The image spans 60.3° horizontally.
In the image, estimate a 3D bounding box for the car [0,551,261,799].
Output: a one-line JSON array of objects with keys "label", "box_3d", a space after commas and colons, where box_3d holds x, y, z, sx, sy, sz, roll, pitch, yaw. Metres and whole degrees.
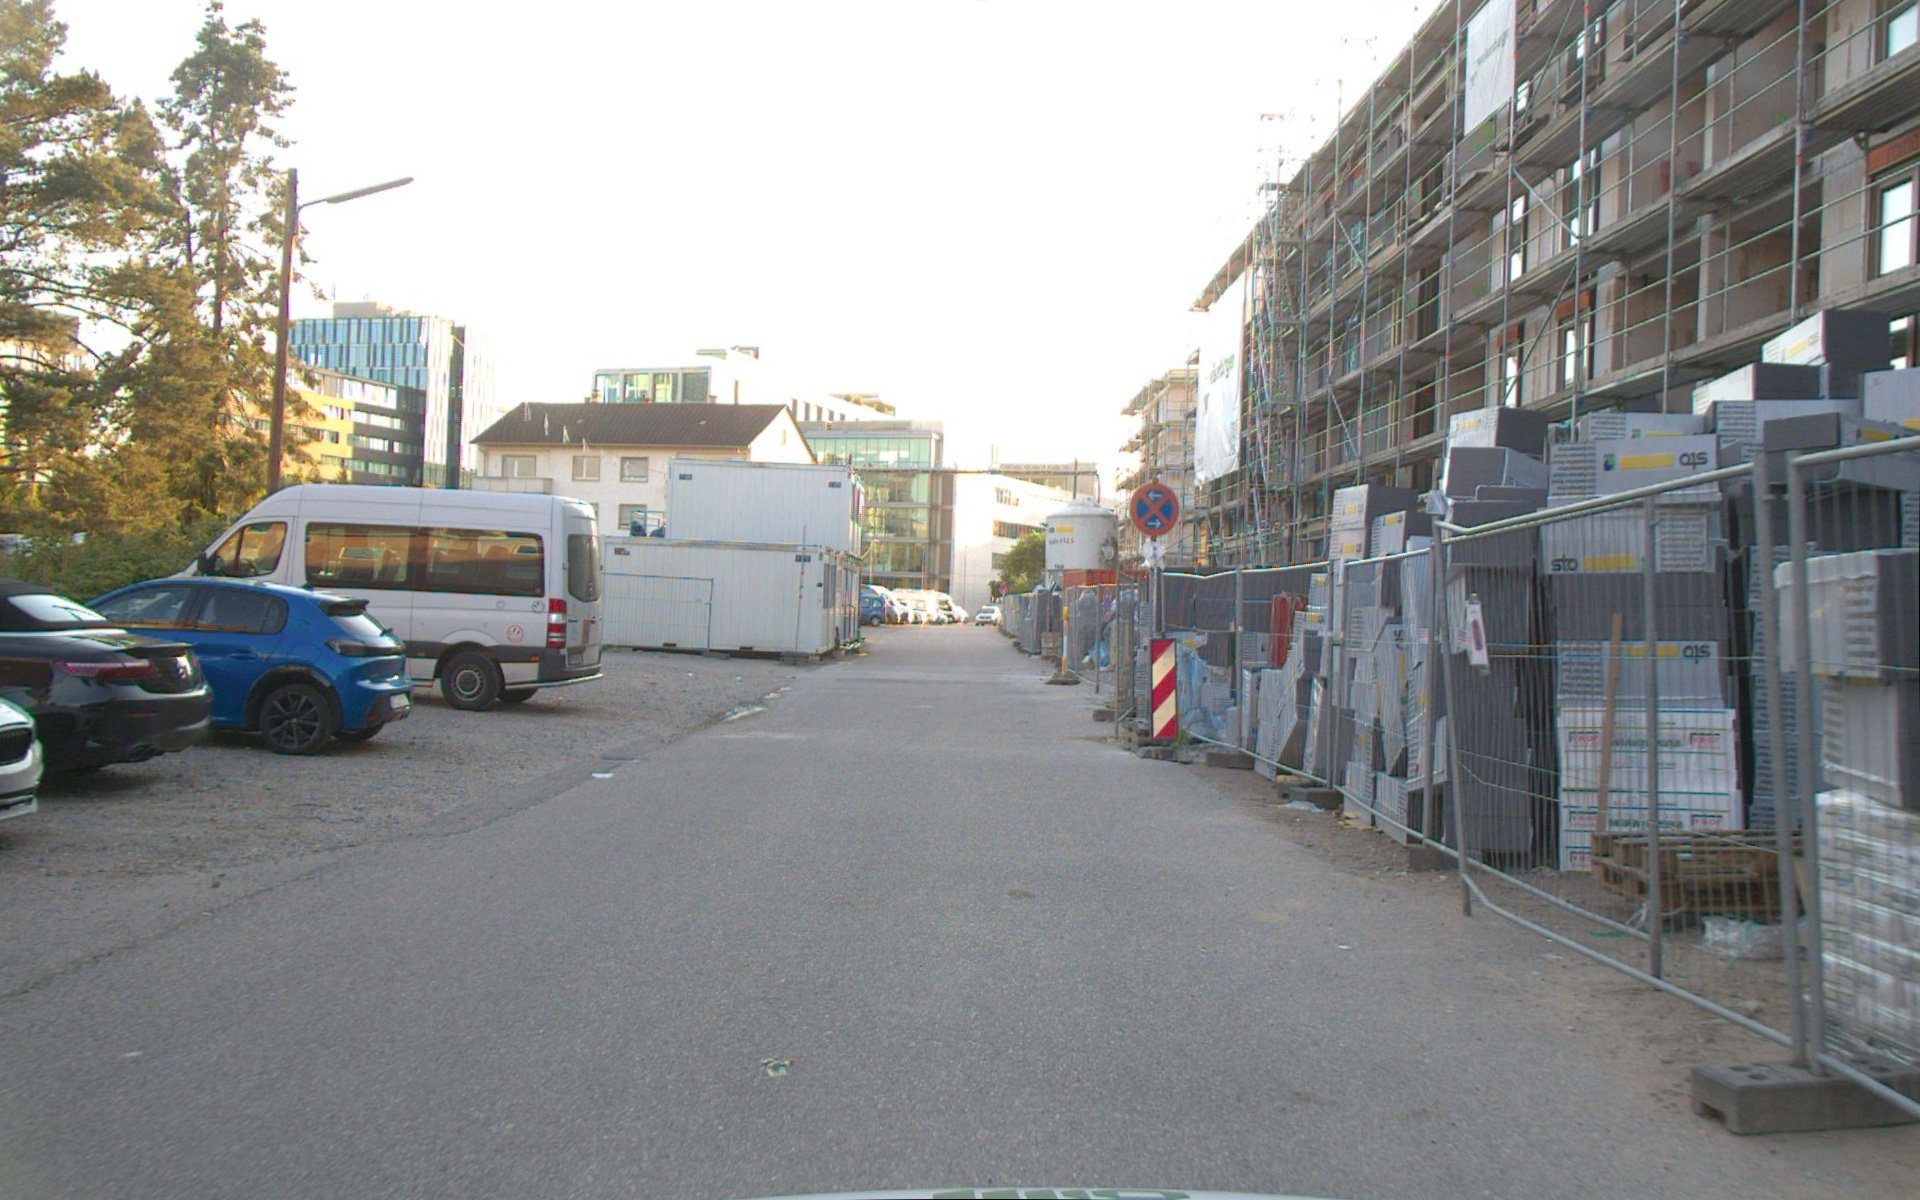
[{"label": "car", "box_3d": [-7.447, 0.422, 11.518, 4.329, 1.571, 1.726, 3, -1, -4]}]

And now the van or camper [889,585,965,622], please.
[{"label": "van or camper", "box_3d": [-2.904, 0.327, 145.561, 6.198, 3.031, 2.294, 2, -1, 12]}]

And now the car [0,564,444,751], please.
[{"label": "car", "box_3d": [-6.868, 0.501, 15.051, 3.760, 1.454, 1.727, 3, -1, -3]}]

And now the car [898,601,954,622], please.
[{"label": "car", "box_3d": [-2.898, 0.999, 139.807, 4.407, 1.677, 2.001, 1, -1, 9]}]

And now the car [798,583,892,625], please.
[{"label": "car", "box_3d": [-7.788, 0.315, 112.670, 6.198, 2.697, 2.000, 1, -1, 0]}]

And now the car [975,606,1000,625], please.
[{"label": "car", "box_3d": [2.315, 1.282, 138.514, 1.629, 1.556, 3.913, 1, -1, 8]}]

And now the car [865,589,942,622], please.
[{"label": "car", "box_3d": [-4.495, 0.434, 131.697, 5.797, 2.534, 2.002, 1, -1, 11]}]

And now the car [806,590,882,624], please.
[{"label": "car", "box_3d": [-6.930, 0.451, 98.632, 4.416, 1.901, 1.998, 1, -1, -6]}]

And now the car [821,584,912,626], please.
[{"label": "car", "box_3d": [-6.551, 0.364, 116.443, 6.198, 2.789, 2.000, 1, -1, 0]}]

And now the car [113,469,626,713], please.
[{"label": "car", "box_3d": [-7.322, -0.096, 20.974, 5.571, 2.672, 2.222, 3, -1, 1]}]

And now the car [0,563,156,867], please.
[{"label": "car", "box_3d": [-7.363, 0.452, 8.958, 4.891, 1.571, 2.116, 4, -1, 2]}]
